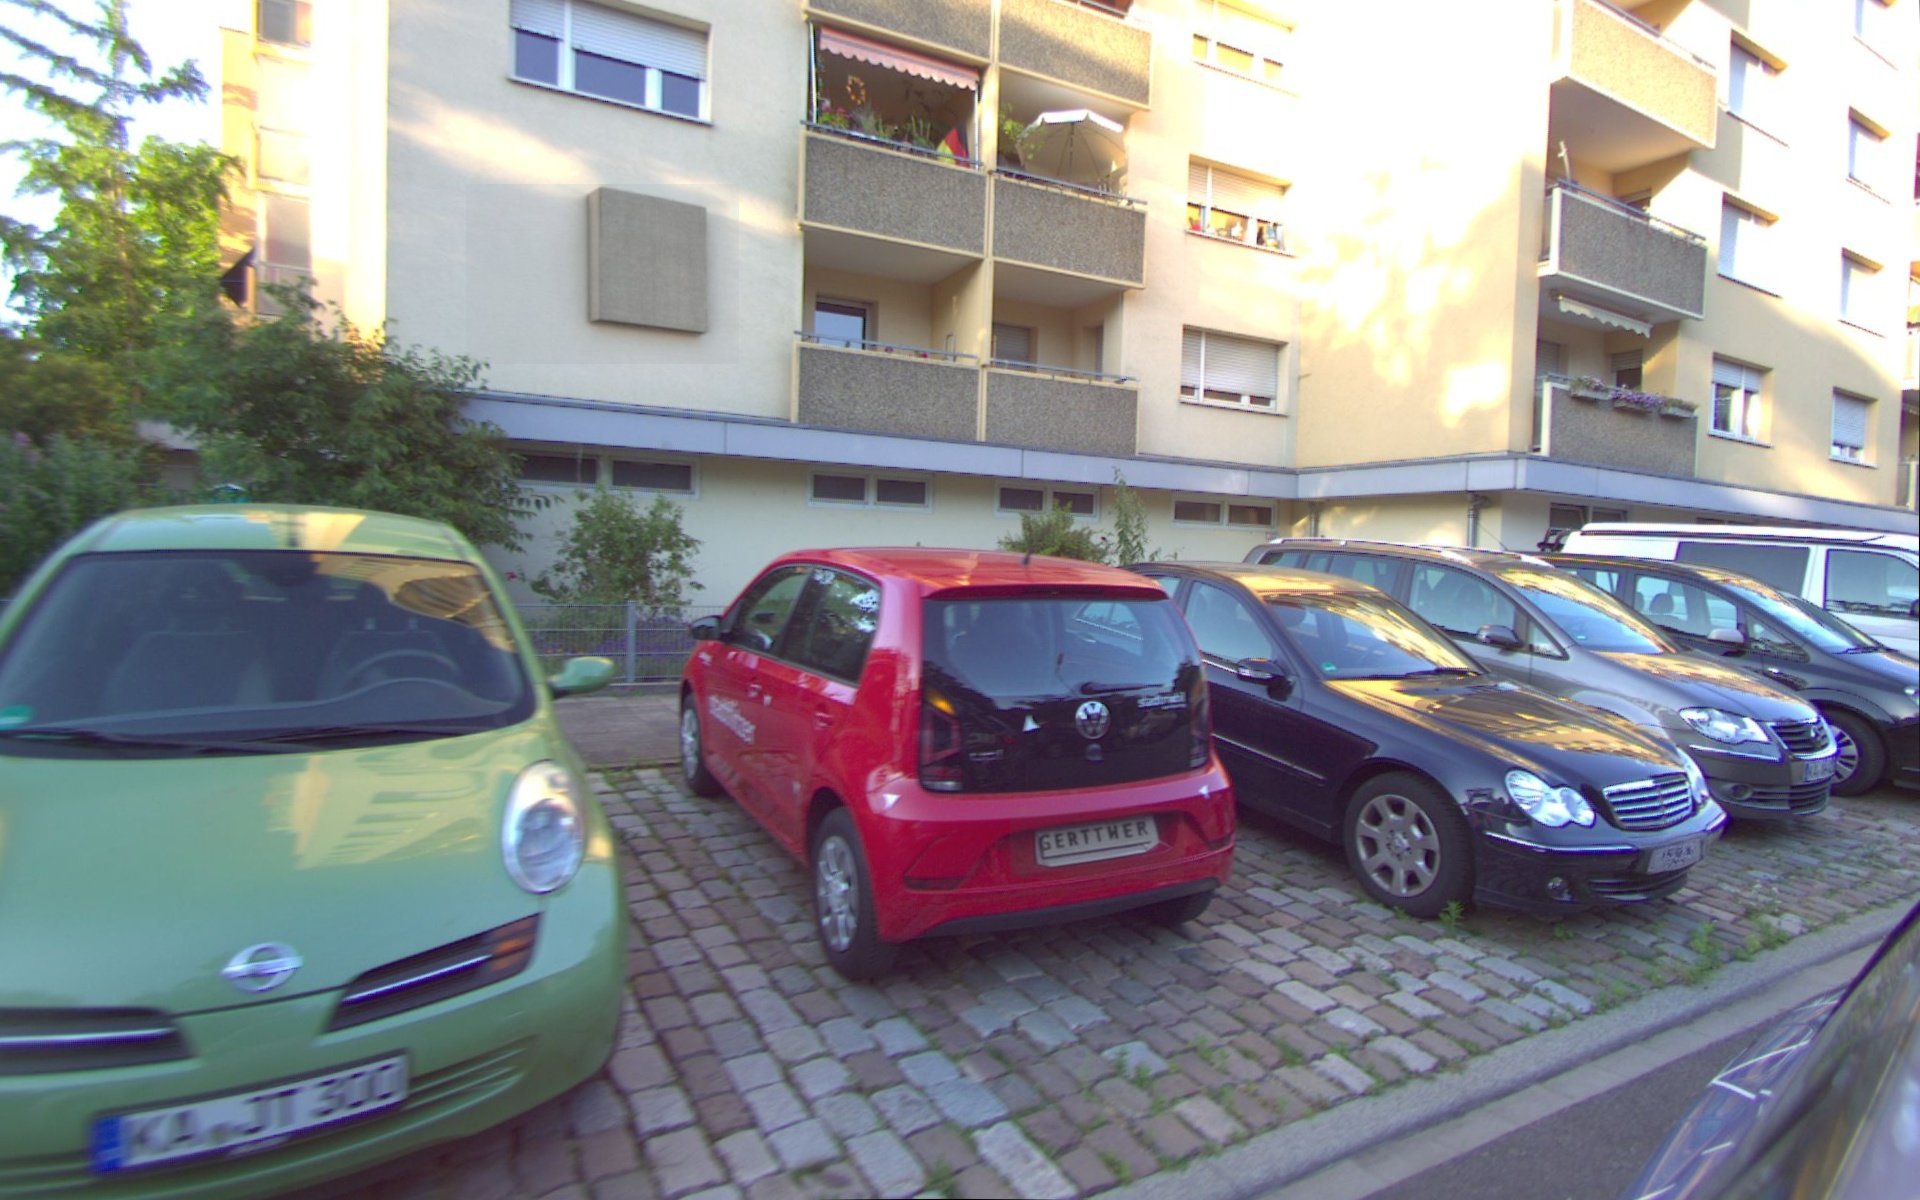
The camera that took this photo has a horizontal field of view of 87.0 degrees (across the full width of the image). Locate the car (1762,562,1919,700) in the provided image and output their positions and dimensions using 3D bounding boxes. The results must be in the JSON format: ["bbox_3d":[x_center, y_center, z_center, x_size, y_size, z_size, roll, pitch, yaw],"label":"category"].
[{"bbox_3d":[12.849,0.432,12.321,1.809,1.611,4.425,-2,5,-30],"label":"car"}]

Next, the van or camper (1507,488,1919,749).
[{"bbox_3d":[8.629,0.076,10.071,2.000,2.192,5.159,0,6,-32],"label":"van or camper"}]

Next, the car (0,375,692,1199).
[{"bbox_3d":[-2.546,0.296,3.714,1.810,1.650,4.424,-2,5,-32],"label":"car"}]

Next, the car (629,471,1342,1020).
[{"bbox_3d":[-0.428,0.212,5.397,1.808,1.650,4.430,1,6,-28],"label":"car"}]

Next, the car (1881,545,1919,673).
[{"bbox_3d":[16.867,0.251,14.783,1.809,2.004,4.660,-2,5,-30],"label":"car"}]

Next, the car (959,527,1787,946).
[{"bbox_3d":[1.930,0.363,6.171,1.810,1.549,4.424,-2,5,-32],"label":"car"}]

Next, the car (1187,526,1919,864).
[{"bbox_3d":[4.012,0.353,7.742,1.810,1.680,4.425,-2,6,-32],"label":"car"}]

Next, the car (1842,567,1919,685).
[{"bbox_3d":[14.826,0.456,13.340,1.809,1.581,4.425,-2,5,-30],"label":"car"}]

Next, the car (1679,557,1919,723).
[{"bbox_3d":[10.808,0.430,11.051,1.809,1.650,4.425,-2,5,-30],"label":"car"}]

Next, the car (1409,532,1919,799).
[{"bbox_3d":[6.419,0.339,8.740,1.747,1.680,4.347,-2,6,-32],"label":"car"}]
